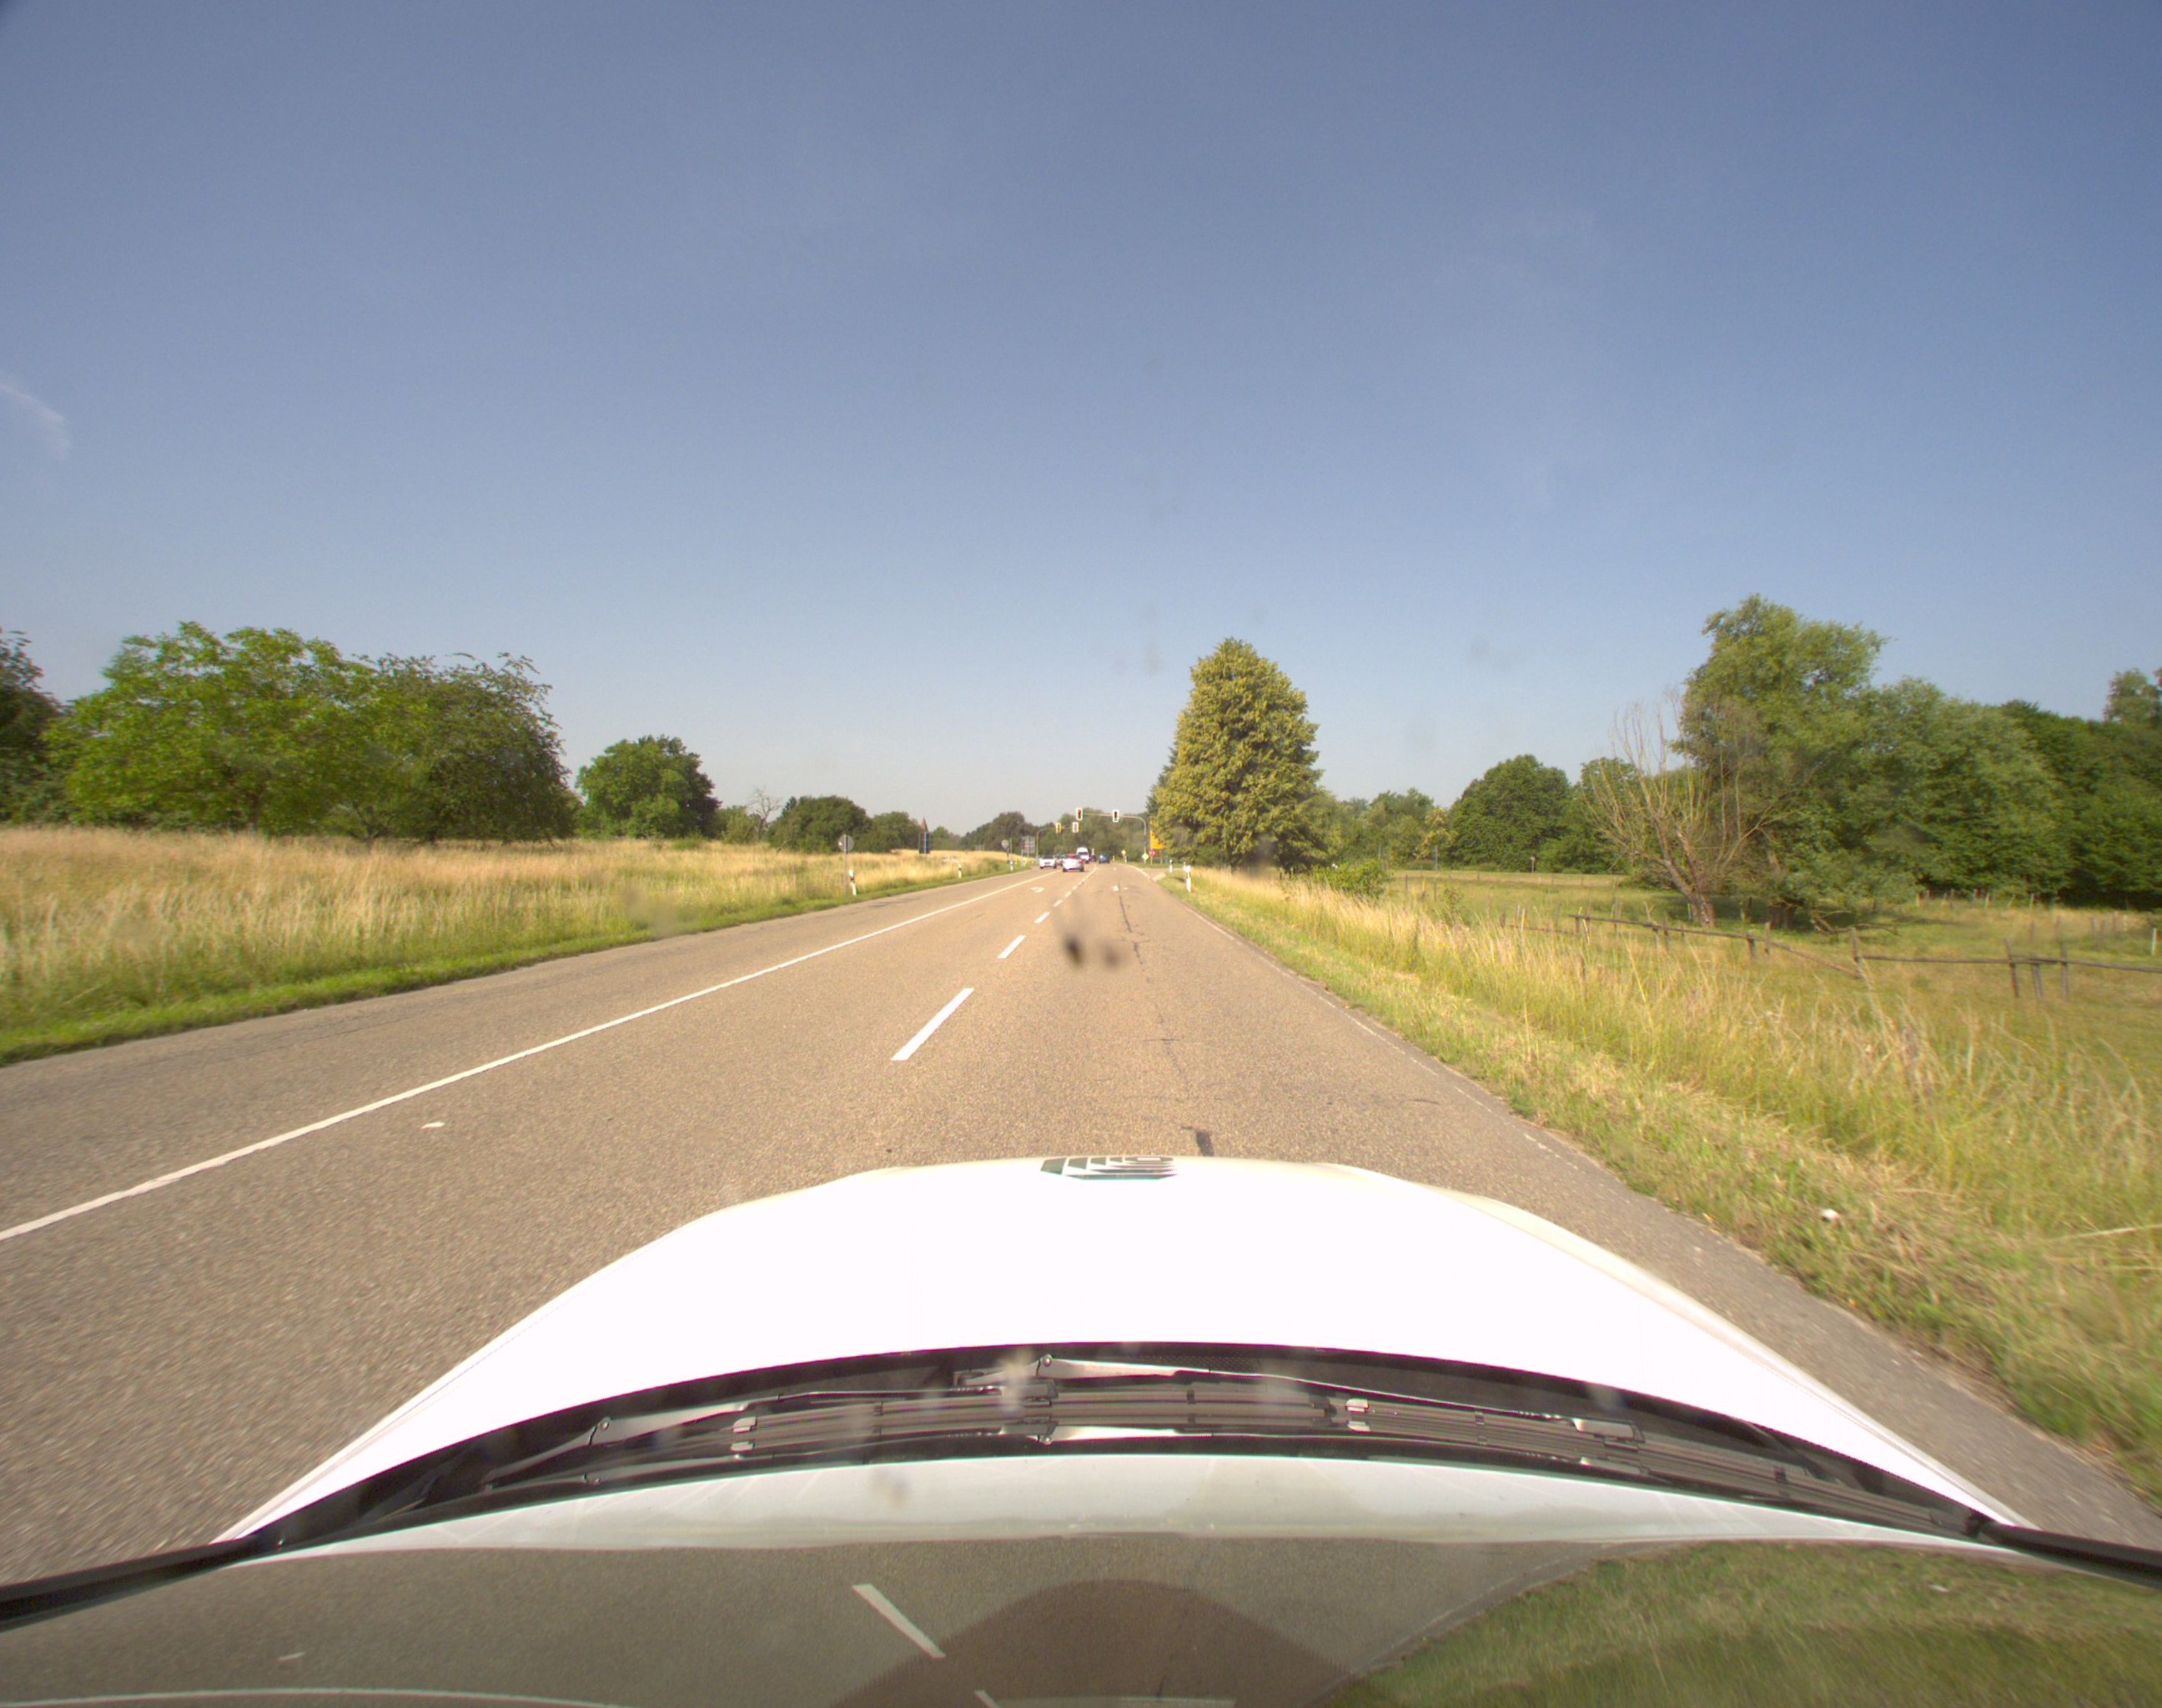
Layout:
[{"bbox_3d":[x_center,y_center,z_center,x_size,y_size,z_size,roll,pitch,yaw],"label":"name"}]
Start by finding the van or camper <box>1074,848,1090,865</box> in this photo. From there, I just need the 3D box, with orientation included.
[{"bbox_3d":[0.221,0.494,137.387,2.256,2.709,5.266,3,0,3],"label":"van or camper"}]

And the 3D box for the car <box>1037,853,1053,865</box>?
[{"bbox_3d":[-5.553,0.705,125.729,1.924,1.728,4.005,3,0,4],"label":"car"}]

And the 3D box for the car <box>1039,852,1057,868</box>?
[{"bbox_3d":[-3.839,0.660,95.459,1.585,1.728,4.005,3,0,4],"label":"car"}]

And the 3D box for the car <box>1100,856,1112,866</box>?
[{"bbox_3d":[4.130,1.102,132.928,1.809,1.520,4.002,3,0,2],"label":"car"}]

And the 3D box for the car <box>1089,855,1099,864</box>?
[{"bbox_3d":[2.630,1.074,162.932,1.986,1.816,4.001,3,0,1],"label":"car"}]

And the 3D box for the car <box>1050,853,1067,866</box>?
[{"bbox_3d":[-3.113,0.755,113.478,1.924,1.728,4.005,3,0,4],"label":"car"}]

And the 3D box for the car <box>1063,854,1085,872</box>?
[{"bbox_3d":[-0.690,0.810,74.291,1.894,1.512,3.997,0,0,-2],"label":"car"}]
